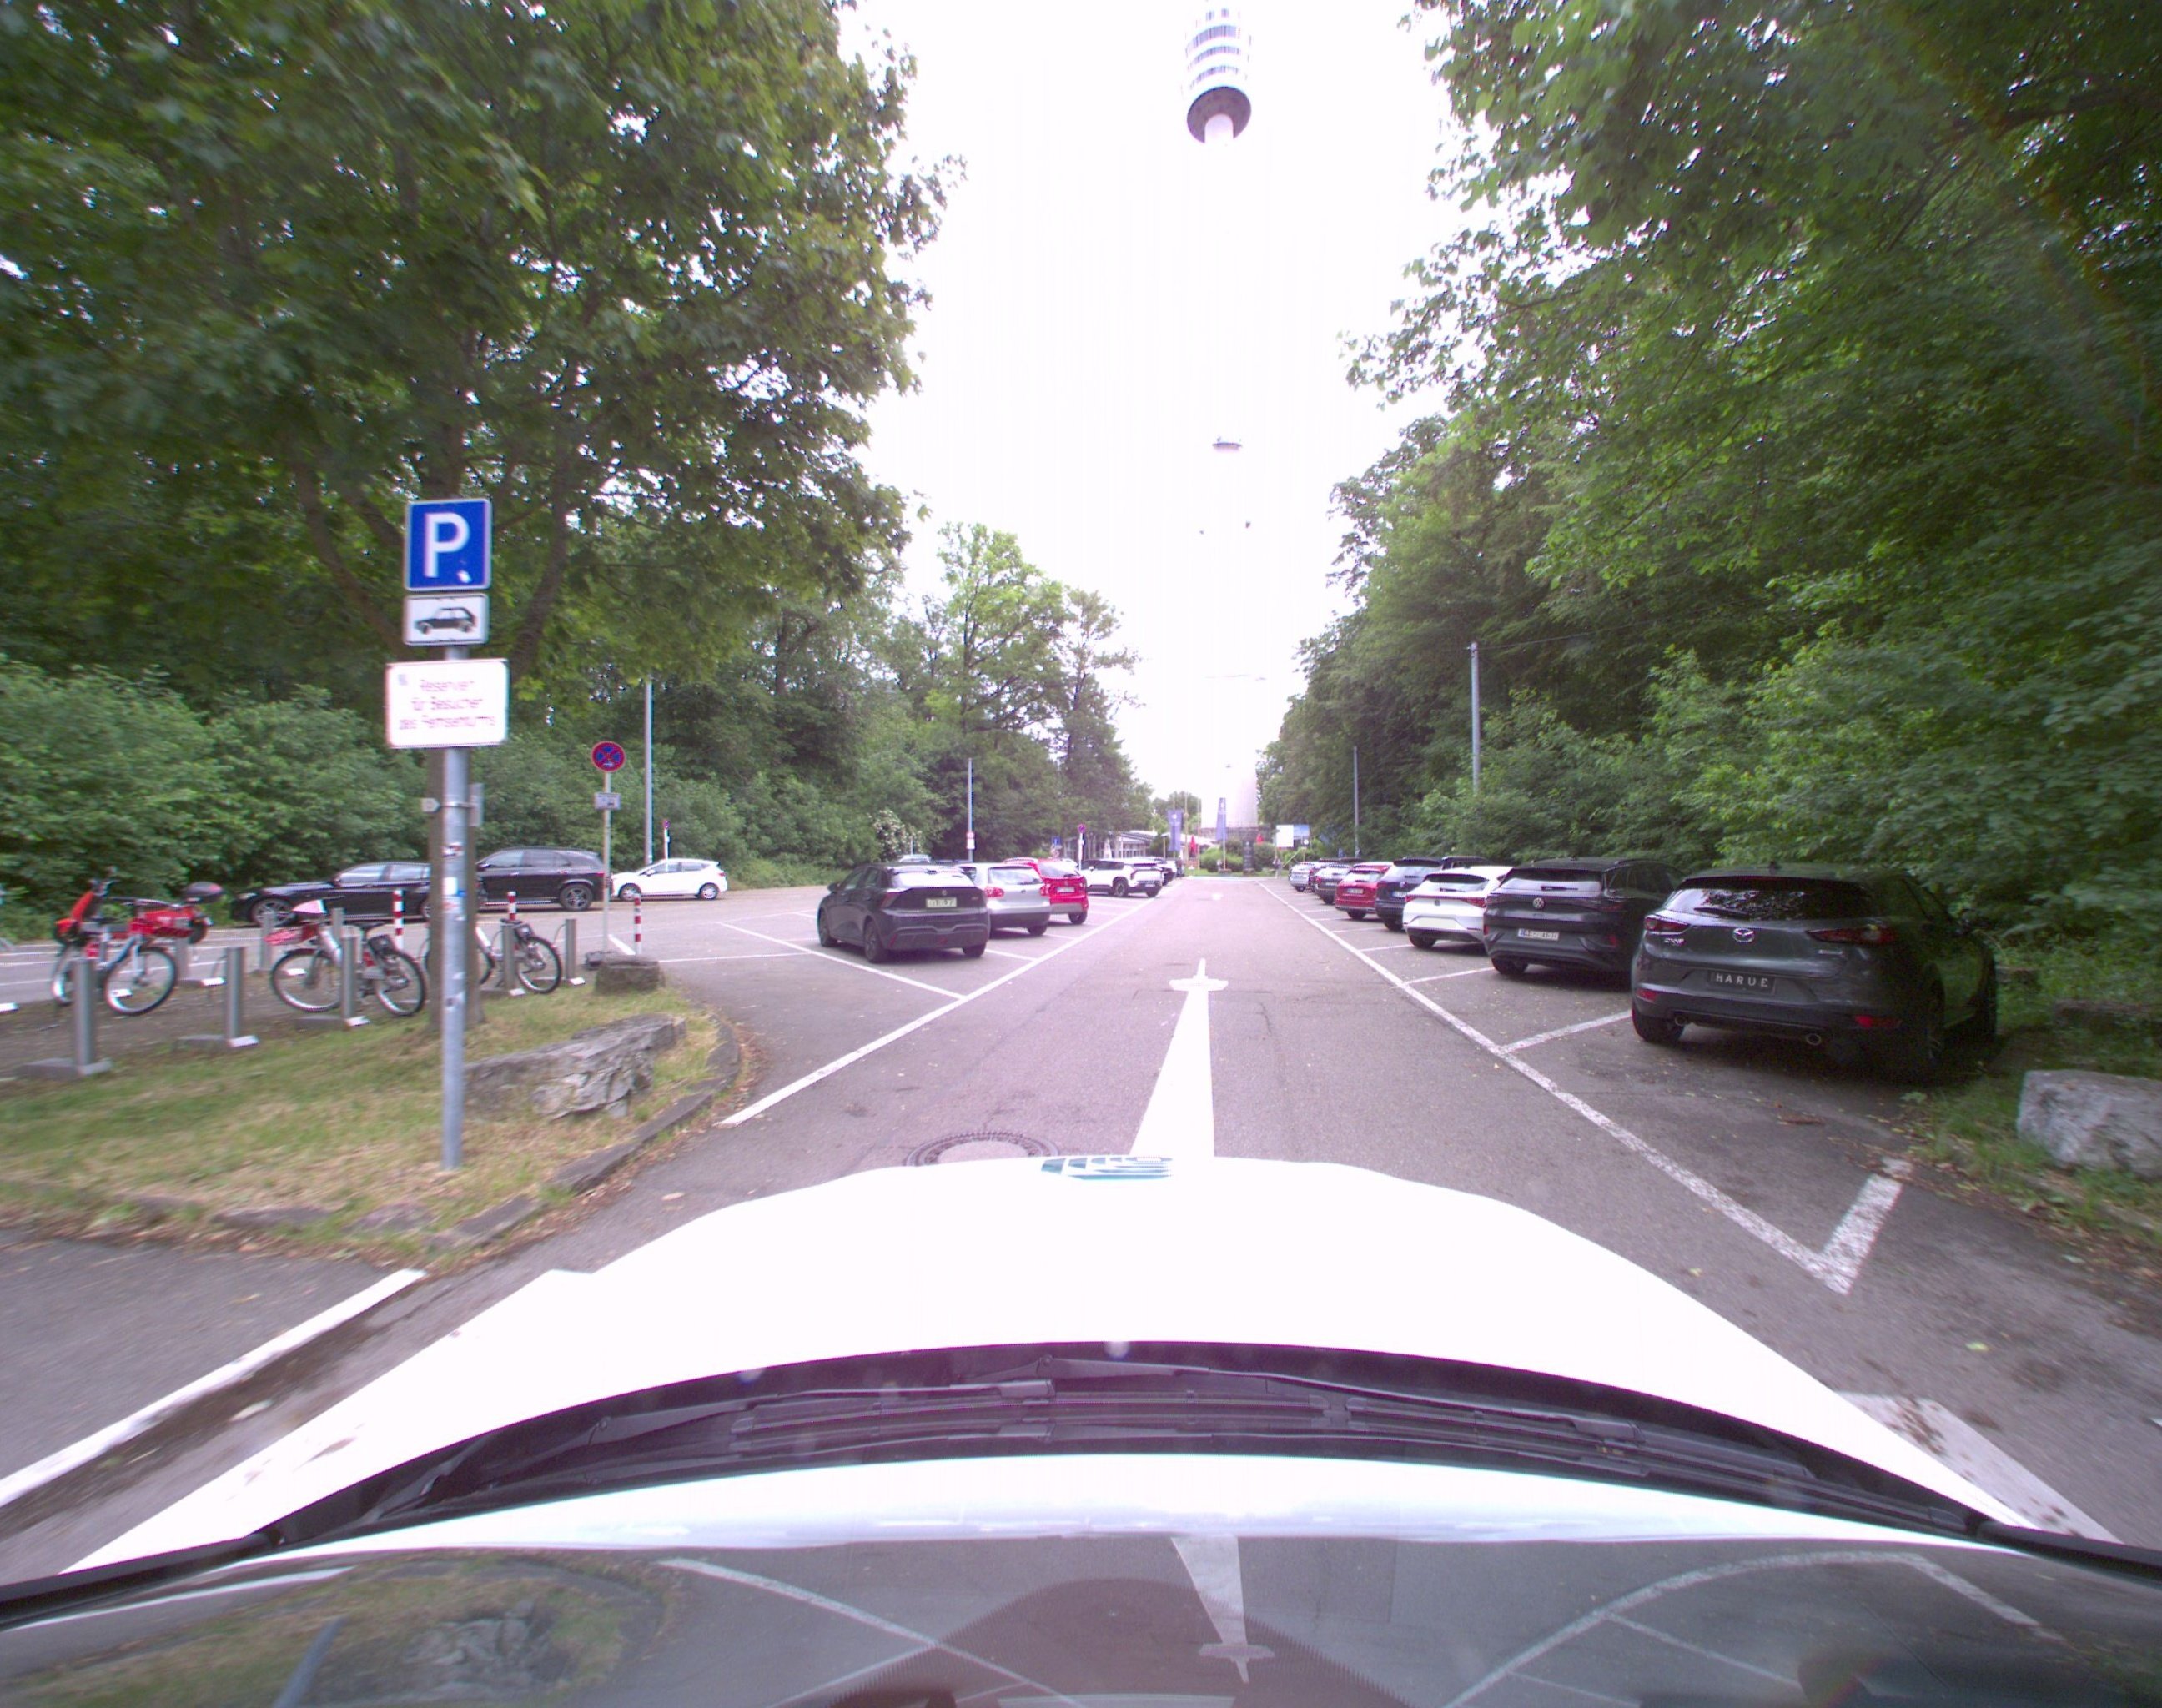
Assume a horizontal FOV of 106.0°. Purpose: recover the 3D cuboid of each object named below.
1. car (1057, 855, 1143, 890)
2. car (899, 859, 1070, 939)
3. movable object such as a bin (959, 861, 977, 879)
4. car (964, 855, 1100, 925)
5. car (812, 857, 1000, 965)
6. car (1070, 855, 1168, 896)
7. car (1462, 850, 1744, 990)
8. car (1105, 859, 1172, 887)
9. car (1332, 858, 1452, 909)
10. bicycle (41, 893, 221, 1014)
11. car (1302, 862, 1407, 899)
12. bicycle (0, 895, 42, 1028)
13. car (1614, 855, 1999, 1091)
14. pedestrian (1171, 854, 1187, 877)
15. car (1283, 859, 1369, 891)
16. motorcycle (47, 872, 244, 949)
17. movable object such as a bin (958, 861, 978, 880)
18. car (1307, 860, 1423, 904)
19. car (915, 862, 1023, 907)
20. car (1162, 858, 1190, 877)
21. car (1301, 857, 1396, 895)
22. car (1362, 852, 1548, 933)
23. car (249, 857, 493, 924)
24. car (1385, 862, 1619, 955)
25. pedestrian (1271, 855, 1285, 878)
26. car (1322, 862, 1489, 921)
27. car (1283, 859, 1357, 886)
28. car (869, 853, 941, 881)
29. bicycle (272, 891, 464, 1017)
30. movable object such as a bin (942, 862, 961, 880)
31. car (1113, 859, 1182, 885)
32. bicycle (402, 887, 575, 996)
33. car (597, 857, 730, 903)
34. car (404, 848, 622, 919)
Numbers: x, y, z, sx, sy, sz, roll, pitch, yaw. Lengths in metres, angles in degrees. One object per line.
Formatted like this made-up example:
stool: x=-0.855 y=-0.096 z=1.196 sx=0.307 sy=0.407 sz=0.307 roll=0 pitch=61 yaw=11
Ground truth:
car: x=0.868 y=0.857 z=38.609 sx=1.883 sy=1.554 sz=3.952 roll=0 pitch=0 yaw=-41
car: x=-2.166 y=0.866 z=17.386 sx=1.885 sy=1.483 sz=3.955 roll=1 pitch=-1 yaw=-37
movable object such as a bin: x=-8.443 y=1.206 z=61.030 sx=1.250 sy=1.325 sz=1.145 roll=0 pitch=-1 yaw=-2
car: x=-1.303 y=0.837 z=20.498 sx=1.695 sy=1.585 sz=3.613 roll=0 pitch=-1 yaw=-38
car: x=-3.101 y=0.831 z=13.751 sx=1.837 sy=1.523 sz=4.059 roll=1 pitch=-1 yaw=-32
car: x=1.530 y=0.853 z=33.981 sx=1.855 sy=1.596 sz=4.143 roll=0 pitch=0 yaw=-37
car: x=7.290 y=0.760 z=11.251 sx=4.222 sy=1.580 sz=1.936 roll=1 pitch=-1 yaw=-37
car: x=3.135 y=1.015 z=45.240 sx=1.780 sy=1.443 sz=3.805 roll=0 pitch=0 yaw=-34
car: x=9.773 y=0.879 z=25.558 sx=3.595 sy=1.505 sz=1.717 roll=0 pitch=-1 yaw=-33
bicycle: x=-9.580 y=0.964 z=8.216 sx=1.667 sy=1.111 sz=0.508 roll=0 pitch=-1 yaw=16
car: x=11.038 y=1.033 z=32.809 sx=4.282 sy=1.377 sz=1.943 roll=0 pitch=-1 yaw=-37
bicycle: x=-10.026 y=0.927 z=7.191 sx=1.678 sy=1.111 sz=0.485 roll=0 pitch=-1 yaw=18
car: x=6.313 y=0.771 z=6.973 sx=3.808 sy=1.492 sz=1.681 roll=1 pitch=-1 yaw=-36
pedestrian: x=7.195 y=0.838 z=59.958 sx=0.898 sy=1.725 sz=0.758 roll=0 pitch=-1 yaw=-24
car: x=11.970 y=0.996 z=39.798 sx=4.012 sy=1.467 sz=1.817 roll=0 pitch=0 yaw=-31
motorcycle: x=-15.660 y=0.914 z=13.718 sx=2.032 sy=1.208 sz=0.725 roll=0 pitch=-1 yaw=-25
movable object such as a bin: x=-8.111 y=1.194 z=58.485 sx=1.172 sy=1.307 sz=1.305 roll=0 pitch=-1 yaw=-19
car: x=10.107 y=0.946 z=28.899 sx=4.204 sy=1.457 sz=1.785 roll=0 pitch=-1 yaw=-35
car: x=-3.967 y=1.003 z=28.418 sx=1.878 sy=1.442 sz=4.267 roll=0 pitch=-1 yaw=-38
car: x=7.593 y=1.065 z=64.724 sx=1.881 sy=1.428 sz=4.013 roll=0 pitch=0 yaw=11
car: x=12.129 y=0.937 z=36.866 sx=4.280 sy=1.636 sz=1.944 roll=0 pitch=-1 yaw=-35
car: x=8.397 y=0.793 z=18.218 sx=4.133 sy=1.618 sz=1.824 roll=0 pitch=-1 yaw=-32
car: x=-16.061 y=0.776 z=18.736 sx=4.016 sy=1.376 sz=1.721 roll=1 pitch=-1 yaw=-34
car: x=7.528 y=0.860 z=14.478 sx=4.133 sy=1.438 sz=1.851 roll=0 pitch=-1 yaw=-32
pedestrian: x=14.701 y=0.935 z=60.704 sx=0.754 sy=1.725 sz=0.902 roll=0 pitch=-1 yaw=30
car: x=8.635 y=0.935 z=21.583 sx=4.309 sy=1.414 sz=1.909 roll=0 pitch=-1 yaw=-31
car: x=13.809 y=1.041 z=47.047 sx=4.221 sy=1.462 sz=1.879 roll=0 pitch=0 yaw=-34
car: x=-11.171 y=0.825 z=51.689 sx=4.087 sy=1.685 sz=1.860 roll=0 pitch=-1 yaw=-34
bicycle: x=-6.825 y=0.926 z=7.804 sx=1.668 sy=1.111 sz=0.484 roll=0 pitch=-1 yaw=13
movable object such as a bin: x=-9.244 y=1.204 z=58.096 sx=1.127 sy=1.315 sz=1.177 roll=0 pitch=-1 yaw=-19
car: x=3.875 y=1.031 z=48.277 sx=1.768 sy=1.443 sz=4.231 roll=0 pitch=-1 yaw=-36
bicycle: x=-6.531 y=0.935 z=8.987 sx=1.770 sy=1.111 sz=0.484 roll=0 pitch=-1 yaw=13
car: x=-14.723 y=0.878 z=28.796 sx=4.016 sy=1.510 sz=1.850 roll=0 pitch=0 yaw=-34
car: x=-15.423 y=0.741 z=22.417 sx=4.727 sy=1.767 sz=2.090 roll=0 pitch=0 yaw=-34
